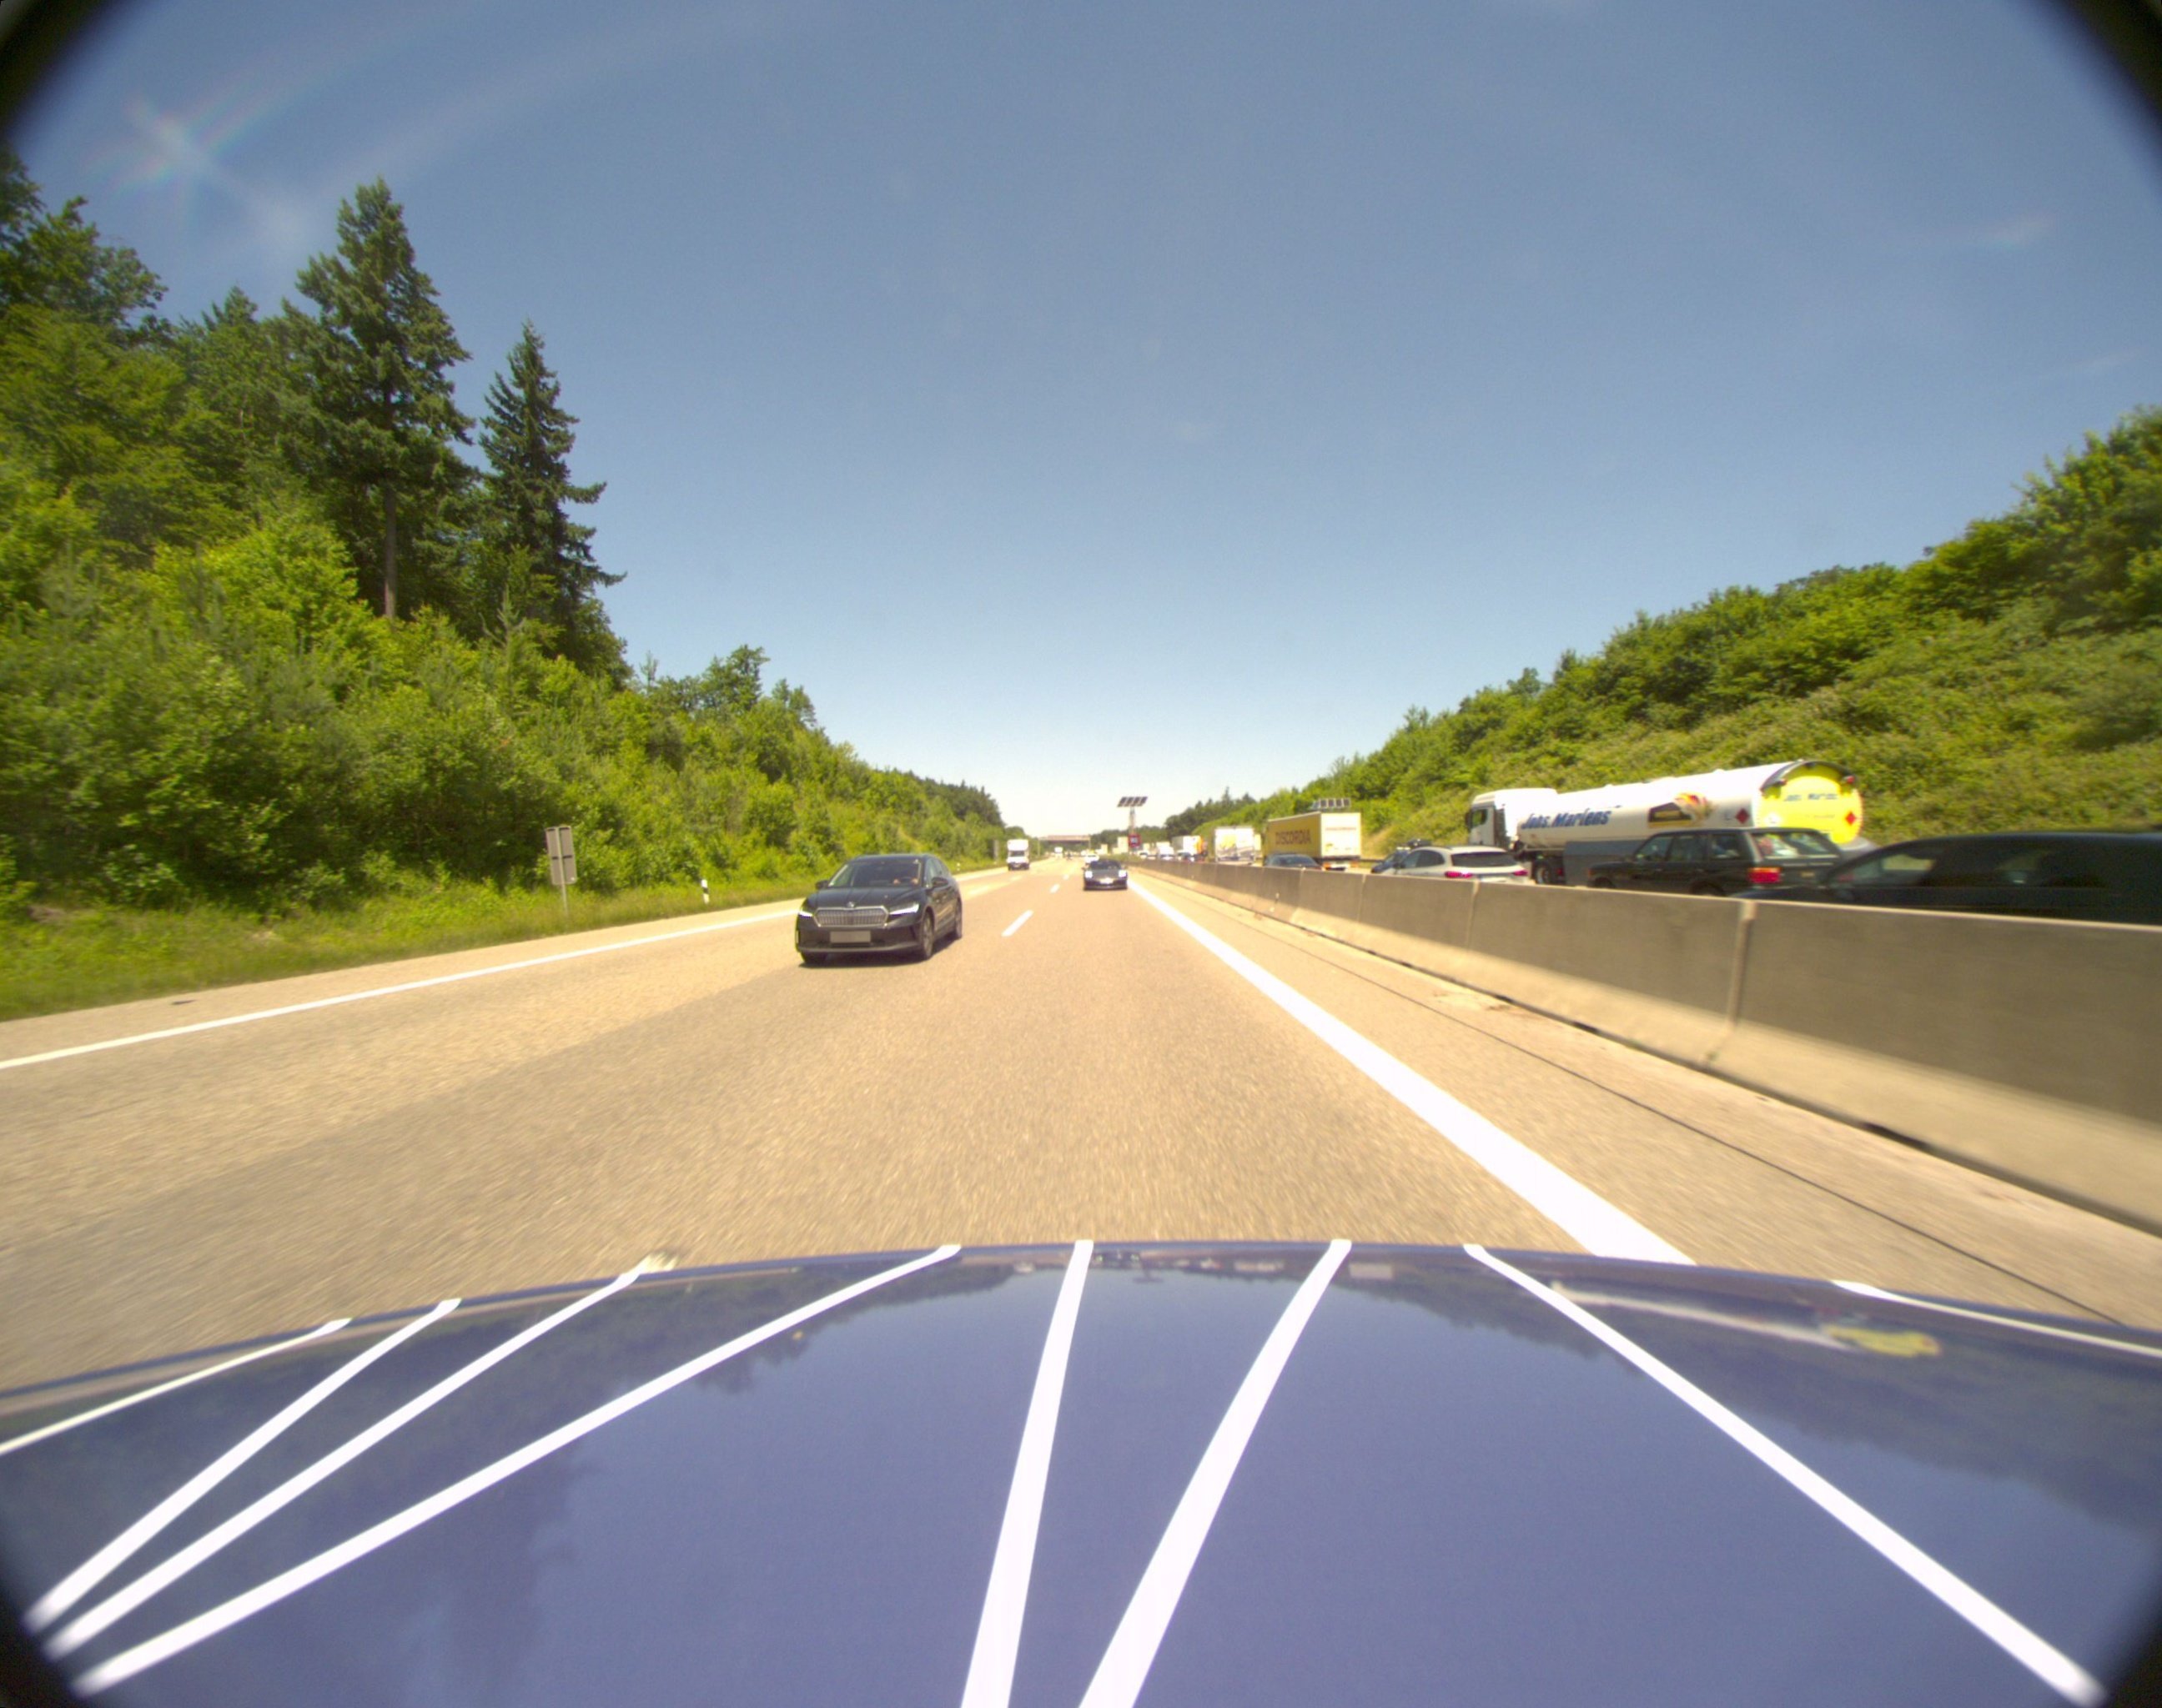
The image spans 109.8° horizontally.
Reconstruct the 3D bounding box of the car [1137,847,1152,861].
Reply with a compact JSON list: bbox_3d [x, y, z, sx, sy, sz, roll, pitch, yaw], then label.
[{"bbox_3d":[9.892,-0.018,119.075,1.831,1.966,5.664,-2,1,-1],"label":"car"}]

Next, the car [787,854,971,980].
[{"bbox_3d":[-3.110,0.867,12.714,1.990,1.610,4.455,-2,1,-2],"label":"car"}]

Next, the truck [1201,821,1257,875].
[{"bbox_3d":[8.874,-0.405,46.254,2.273,2.999,6.777,-2,1,2],"label":"truck"}]

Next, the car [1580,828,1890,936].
[{"bbox_3d":[12.472,0.433,15.041,2.002,1.718,4.758,-2,1,0],"label":"car"}]

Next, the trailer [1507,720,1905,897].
[{"bbox_3d":[16.446,-0.971,21.691,2.616,3.711,10.681,-2,0,1],"label":"trailer"}]

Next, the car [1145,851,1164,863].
[{"bbox_3d":[9.643,0.347,100.022,1.832,1.488,4.758,-2,1,-1],"label":"car"}]

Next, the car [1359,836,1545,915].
[{"bbox_3d":[8.222,0.394,17.406,1.832,1.488,4.758,-2,1,-1],"label":"car"}]

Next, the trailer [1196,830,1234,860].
[{"bbox_3d":[16.803,-1.027,96.104,2.584,3.273,11.698,-2,-1,-1],"label":"trailer"}]

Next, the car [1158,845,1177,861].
[{"bbox_3d":[13.499,-0.245,118.830,2.190,2.371,6.540,-2,1,0],"label":"car"}]

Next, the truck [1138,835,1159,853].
[{"bbox_3d":[17.527,-2.651,198.514,3.706,4.431,19.448,-2,1,1],"label":"truck"}]

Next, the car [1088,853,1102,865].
[{"bbox_3d":[1.782,0.652,98.988,1.718,1.432,4.456,-1,1,1],"label":"car"}]

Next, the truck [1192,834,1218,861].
[{"bbox_3d":[16.717,-0.847,102.585,2.500,3.345,5.186,-2,-1,-1],"label":"truck"}]

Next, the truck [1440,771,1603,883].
[{"bbox_3d":[16.489,-0.970,28.974,2.685,3.722,5.870,-2,1,-1],"label":"truck"}]

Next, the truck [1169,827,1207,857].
[{"bbox_3d":[17.087,-1.914,122.713,3.706,4.431,17.378,-2,1,1],"label":"truck"}]

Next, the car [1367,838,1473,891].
[{"bbox_3d":[12.510,0.326,28.437,1.832,1.754,4.990,-2,1,1],"label":"car"}]

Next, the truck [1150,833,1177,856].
[{"bbox_3d":[17.529,-2.118,163.143,3.706,4.431,19.448,-2,1,1],"label":"truck"}]

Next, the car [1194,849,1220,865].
[{"bbox_3d":[12.992,0.290,78.521,1.832,1.488,4.758,-2,1,-1],"label":"car"}]

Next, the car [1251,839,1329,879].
[{"bbox_3d":[8.618,0.164,31.777,1.832,1.488,4.758,-2,1,-1],"label":"car"}]

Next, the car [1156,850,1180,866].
[{"bbox_3d":[9.085,0.380,79.811,1.832,1.488,4.758,-2,1,-1],"label":"car"}]

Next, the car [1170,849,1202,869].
[{"bbox_3d":[8.445,0.374,61.483,1.832,1.488,4.758,-2,1,-1],"label":"car"}]

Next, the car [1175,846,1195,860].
[{"bbox_3d":[13.572,-0.133,99.333,1.832,1.752,4.758,-2,1,-1],"label":"car"}]

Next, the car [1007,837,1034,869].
[{"bbox_3d":[-6.655,-0.165,85.019,2.303,3.317,7.621,-2,1,0],"label":"car"}]

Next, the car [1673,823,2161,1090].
[{"bbox_3d":[8.138,0.646,6.764,1.832,1.754,4.990,-2,1,0],"label":"car"}]

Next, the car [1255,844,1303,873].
[{"bbox_3d":[12.981,0.262,50.053,1.832,1.754,4.990,-2,1,0],"label":"car"}]

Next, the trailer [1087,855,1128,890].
[{"bbox_3d":[1.194,0.785,33.304,1.688,1.399,3.046,-1,0,4],"label":"trailer"}]

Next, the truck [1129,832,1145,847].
[{"bbox_3d":[17.022,-4.340,232.755,3.706,4.431,19.448,-2,1,1],"label":"truck"}]

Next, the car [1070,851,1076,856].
[{"bbox_3d":[-2.525,-0.028,230.326,1.719,1.432,4.015,-2,1,-1],"label":"car"}]

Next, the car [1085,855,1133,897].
[{"bbox_3d":[1.111,0.811,29.978,1.718,1.432,4.457,-1,1,3],"label":"car"}]

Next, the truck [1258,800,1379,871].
[{"bbox_3d":[17.190,-1.328,57.169,3.706,4.431,17.378,-2,1,1],"label":"truck"}]
